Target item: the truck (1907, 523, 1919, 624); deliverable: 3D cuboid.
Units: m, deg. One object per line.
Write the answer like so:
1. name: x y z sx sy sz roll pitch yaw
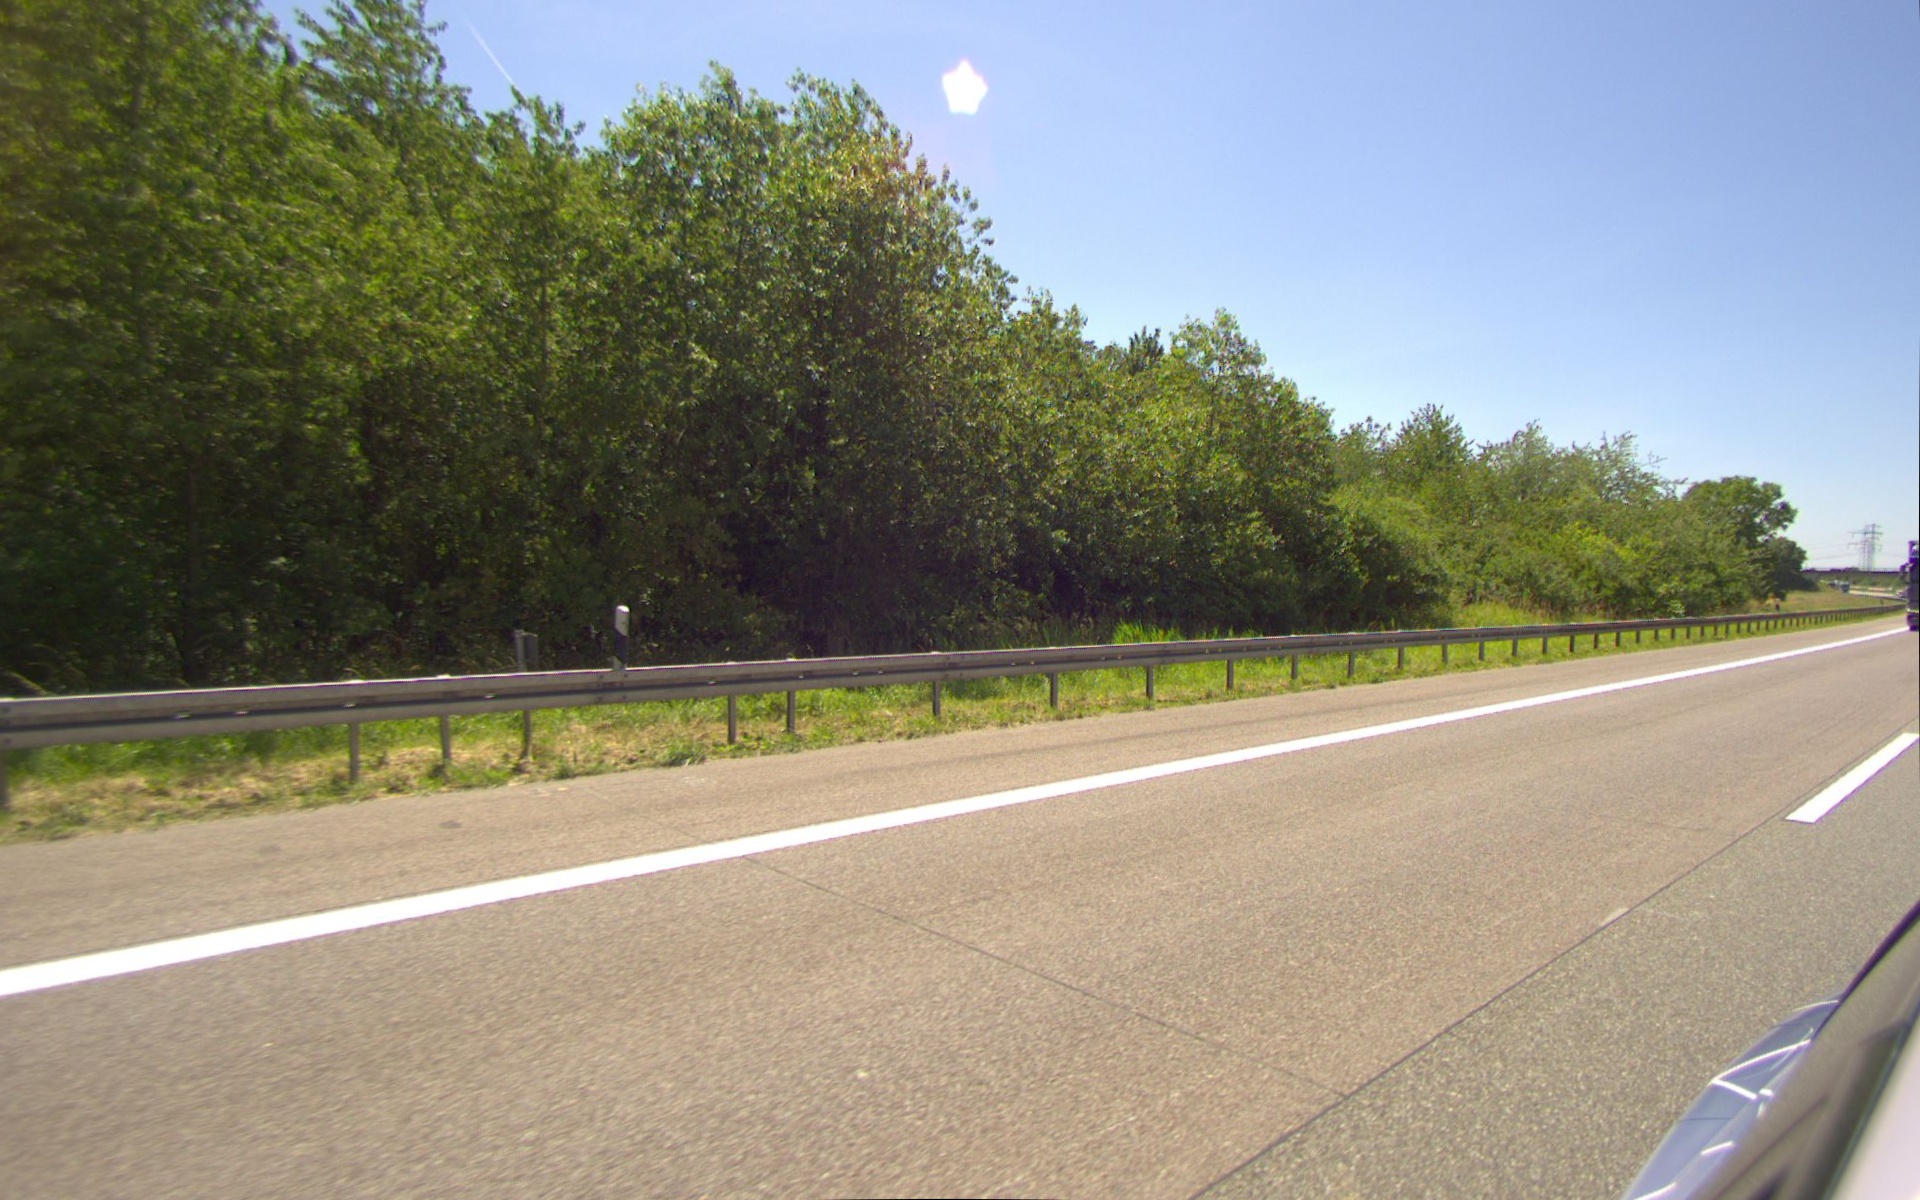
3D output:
1. truck: 43.610 -1.159 44.139 4.888 4.309 2.913 0 1 -41

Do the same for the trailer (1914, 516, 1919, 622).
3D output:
1. trailer: 48.801 -1.428 48.665 13.742 4.716 2.906 -1 1 -41
